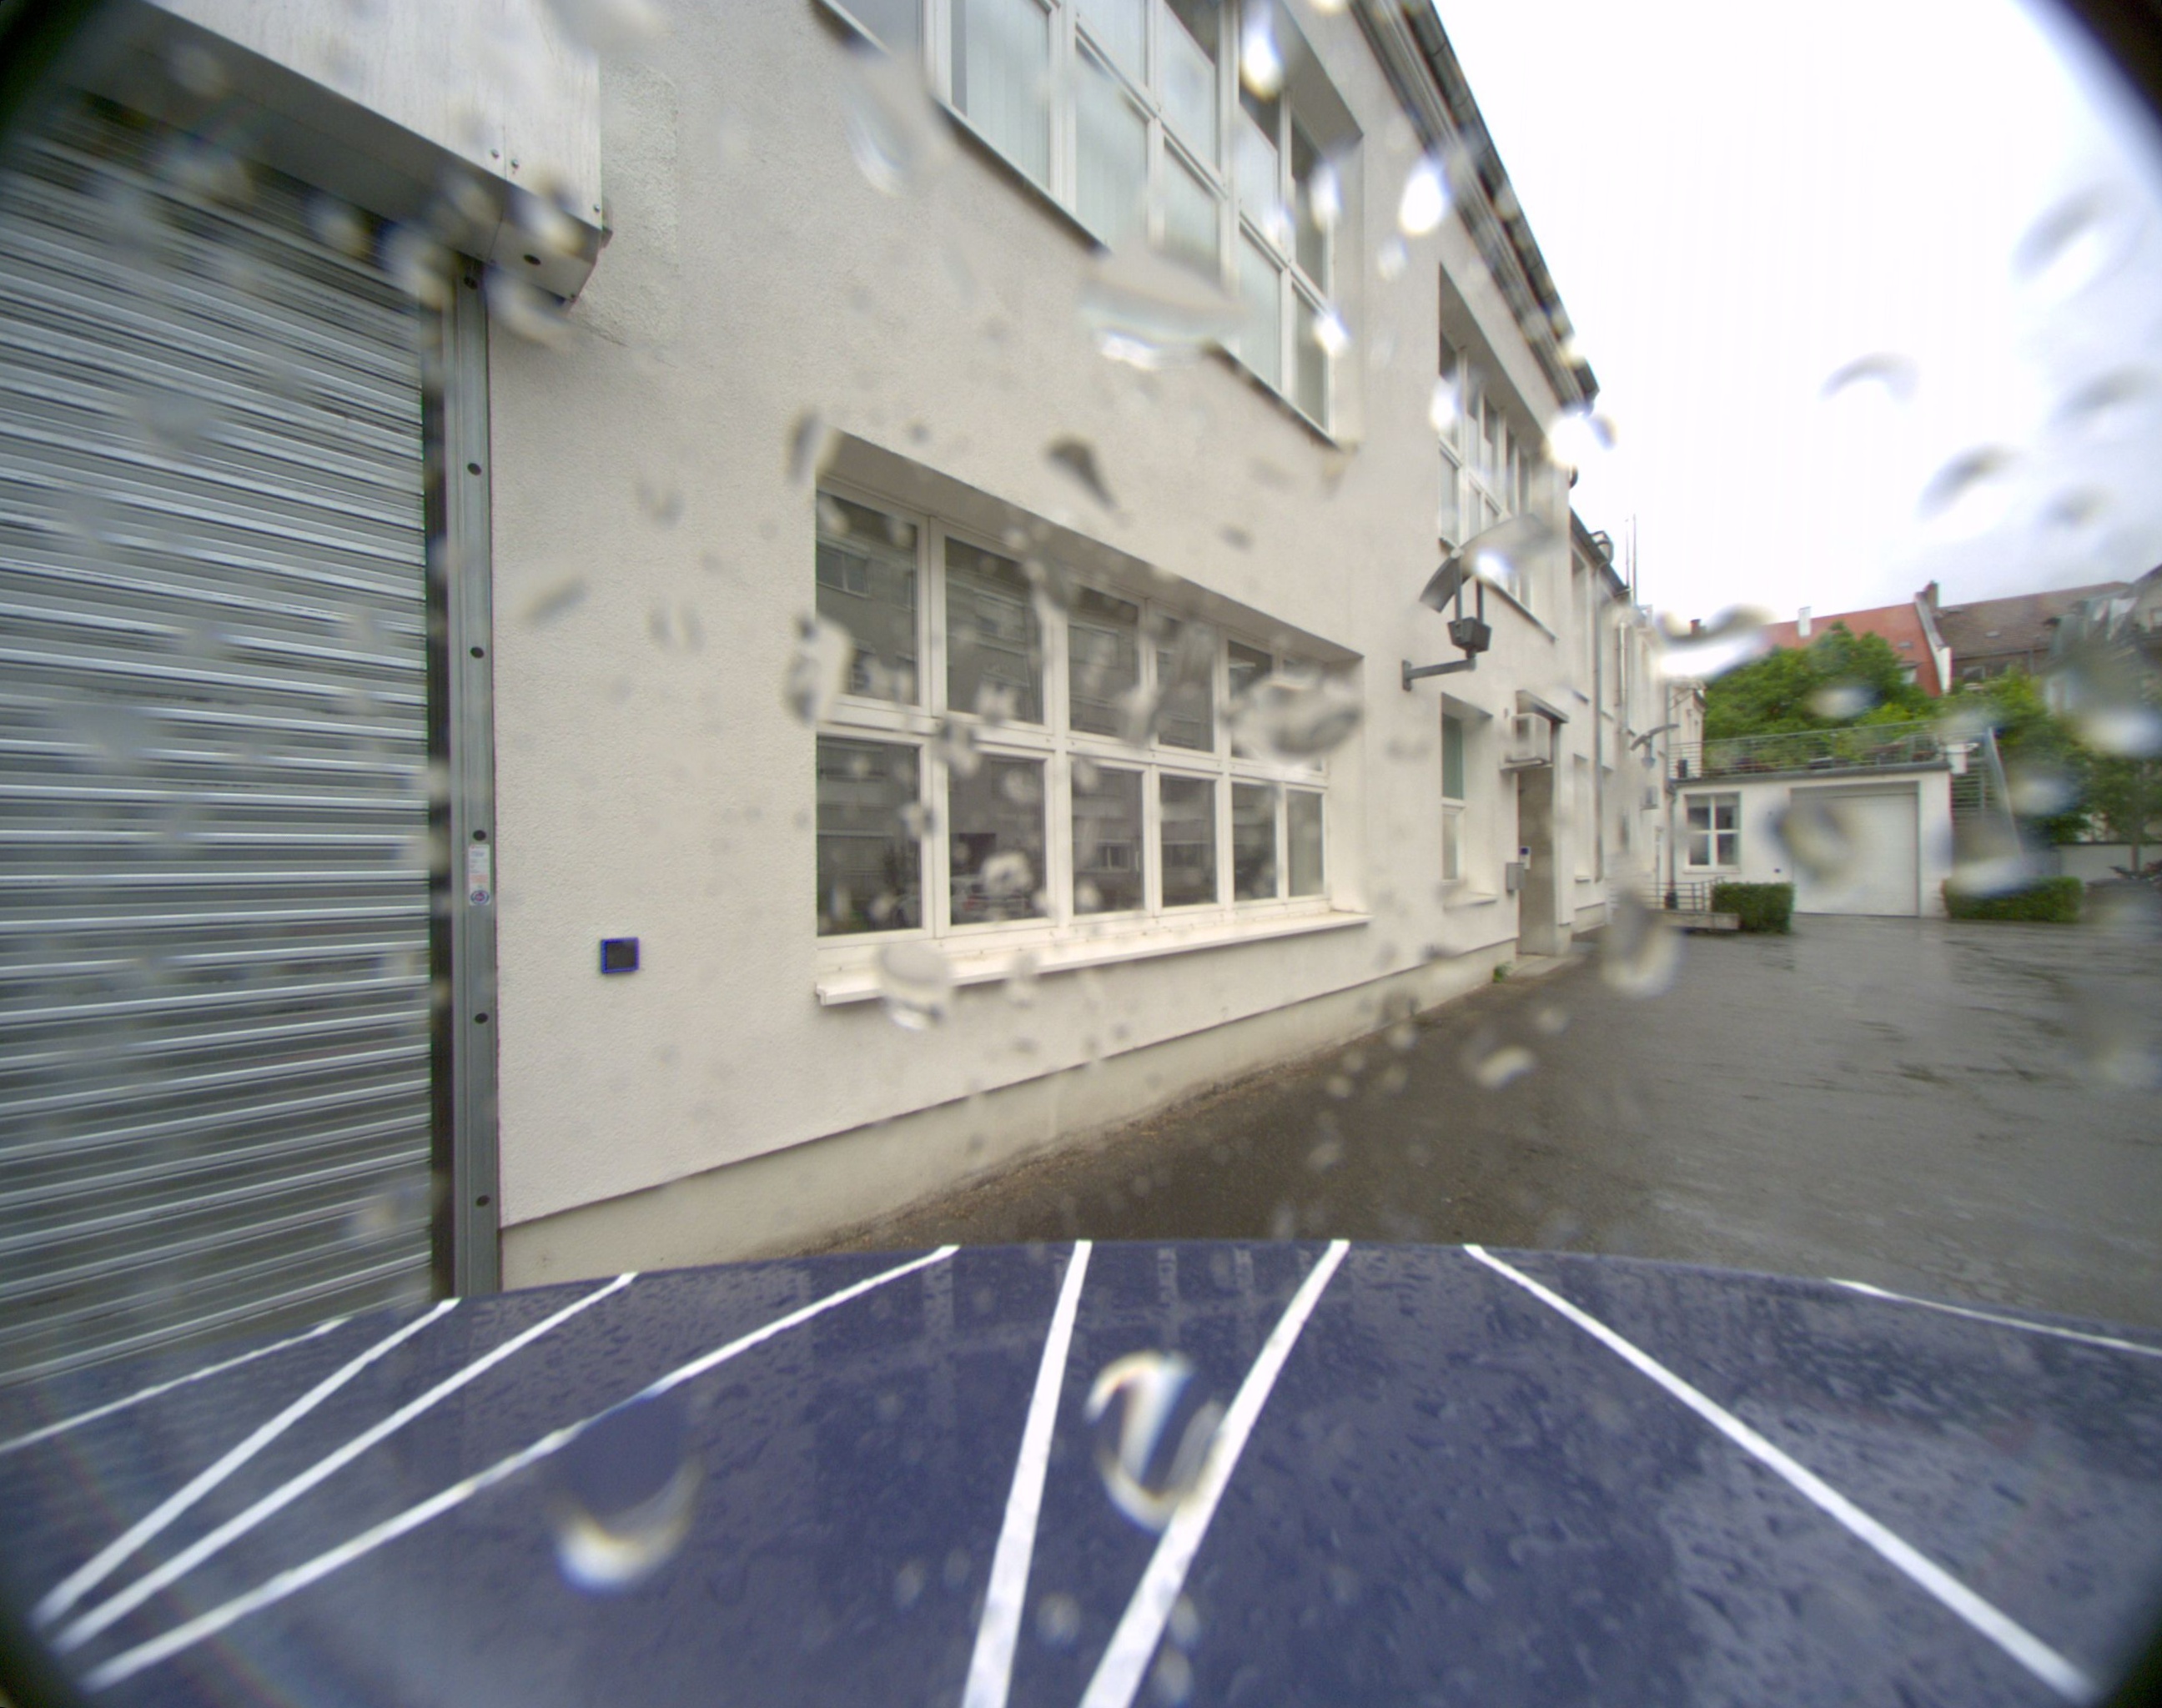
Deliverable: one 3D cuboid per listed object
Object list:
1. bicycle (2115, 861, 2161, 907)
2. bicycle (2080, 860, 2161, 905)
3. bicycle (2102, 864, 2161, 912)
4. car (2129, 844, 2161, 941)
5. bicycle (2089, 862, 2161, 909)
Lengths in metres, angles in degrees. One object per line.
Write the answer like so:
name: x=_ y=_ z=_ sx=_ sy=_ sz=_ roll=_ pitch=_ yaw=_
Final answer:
bicycle: x=29.133 y=0.777 z=19.916 sx=2.314 sy=1.179 sz=0.644 roll=-1 pitch=2 yaw=44
bicycle: x=29.113 y=0.764 z=20.639 sx=2.314 sy=1.179 sz=0.644 roll=-1 pitch=2 yaw=44
bicycle: x=27.782 y=0.848 z=19.187 sx=2.314 sy=1.179 sz=0.644 roll=-1 pitch=2 yaw=44
car: x=22.118 y=0.673 z=12.926 sx=4.618 sy=1.825 sz=1.993 roll=-2 pitch=-2 yaw=37
bicycle: x=28.278 y=0.815 z=19.820 sx=2.314 sy=1.179 sz=0.644 roll=-1 pitch=2 yaw=44
